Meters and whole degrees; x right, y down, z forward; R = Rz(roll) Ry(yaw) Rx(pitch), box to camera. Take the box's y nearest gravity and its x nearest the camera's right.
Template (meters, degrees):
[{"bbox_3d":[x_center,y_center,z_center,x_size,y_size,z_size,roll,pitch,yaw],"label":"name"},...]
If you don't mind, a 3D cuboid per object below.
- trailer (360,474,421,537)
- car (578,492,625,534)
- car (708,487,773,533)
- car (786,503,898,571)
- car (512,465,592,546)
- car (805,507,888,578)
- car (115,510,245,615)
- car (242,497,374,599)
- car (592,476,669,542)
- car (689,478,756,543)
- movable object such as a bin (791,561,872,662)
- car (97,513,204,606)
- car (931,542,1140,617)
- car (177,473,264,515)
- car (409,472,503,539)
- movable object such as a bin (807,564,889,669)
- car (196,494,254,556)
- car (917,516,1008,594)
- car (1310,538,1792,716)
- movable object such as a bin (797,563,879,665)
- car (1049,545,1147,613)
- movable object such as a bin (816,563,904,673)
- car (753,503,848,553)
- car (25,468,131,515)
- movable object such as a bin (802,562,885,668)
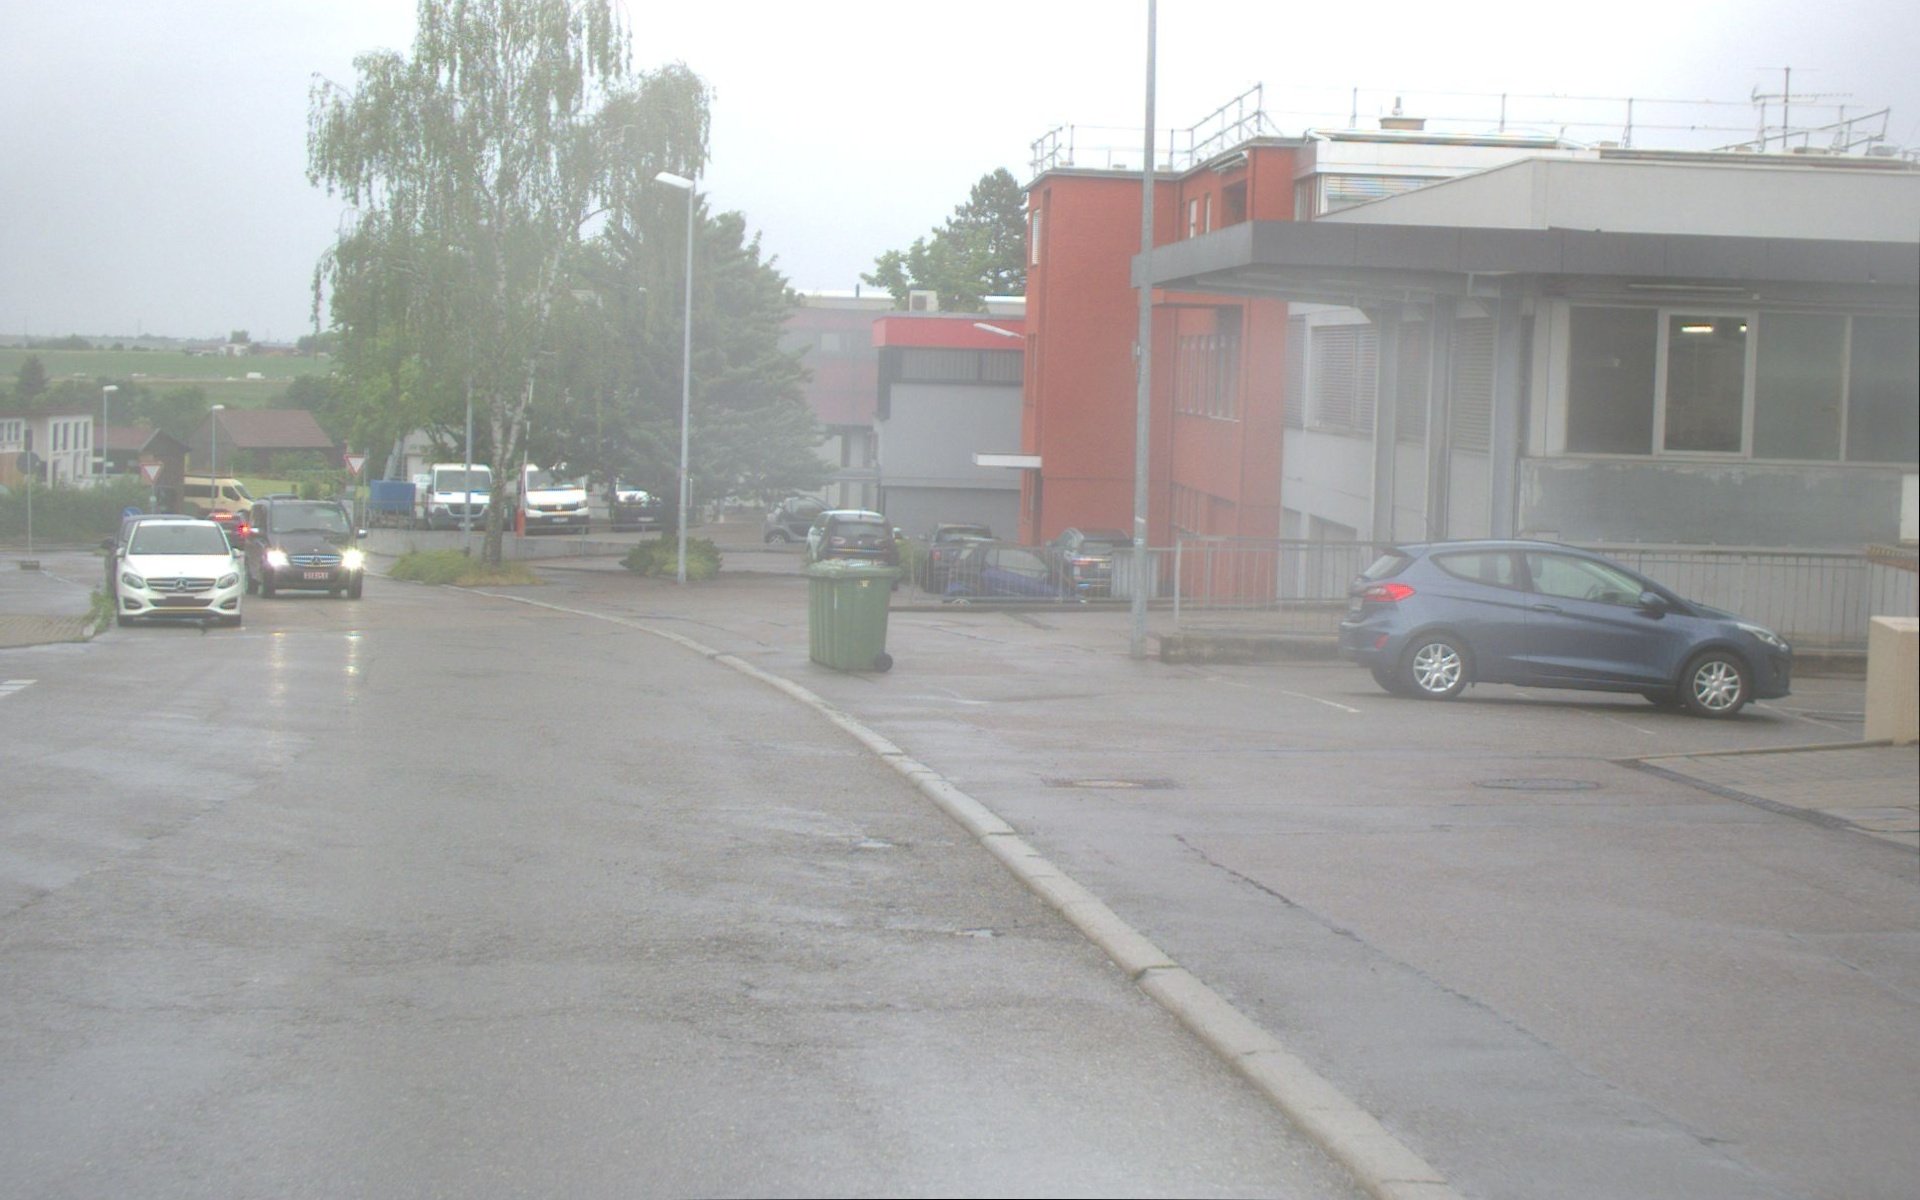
[{"bbox_3d":[-18.740,-3.092,112.986,1.852,2.007,4.001,1,1,-11],"label":"trailer"},{"bbox_3d":[-12.138,-2.937,116.373,1.398,1.321,2.702,1,0,-10],"label":"car"},{"bbox_3d":[-7.503,-3.055,117.227,1.636,1.448,3.512,1,0,-13],"label":"car"},{"bbox_3d":[-2.863,-1.501,82.774,2.064,1.547,4.001,1,0,-11],"label":"car"},{"bbox_3d":[-13.037,-2.992,109.717,2.192,2.451,4.001,1,0,-11],"label":"car"},{"bbox_3d":[-2.513,-1.238,75.306,1.697,1.470,4.000,1,0,-3],"label":"car"},{"bbox_3d":[-11.756,-0.559,51.662,1.769,1.507,4.146,0,0,-15],"label":"car"},{"bbox_3d":[-12.748,-1.046,66.990,1.884,1.880,5.074,1,1,-18],"label":"car"},{"bbox_3d":[-10.641,-2.911,110.811,2.145,2.007,3.940,1,0,-10],"label":"car"},{"bbox_3d":[-7.710,-2.868,111.333,1.780,2.007,3.633,1,0,-10],"label":"car"},{"bbox_3d":[-1.397,0.125,37.267,0.801,1.075,0.625,0,1,-8],"label":"movable object such as a bin"},{"bbox_3d":[-14.703,-0.760,62.339,1.699,1.604,4.002,-1,2,-16],"label":"car"},{"bbox_3d":[1.233,-0.359,57.652,3.400,1.159,1.792,1,1,-1],"label":"car"},{"bbox_3d":[-40.277,-5.769,187.318,4.241,2.218,2.000,1,0,3],"label":"car"},{"bbox_3d":[-16.016,-2.987,109.121,2.264,2.007,4.001,1,0,-19],"label":"car"},{"bbox_3d":[-1.157,0.168,35.541,0.775,1.072,0.584,0,1,-8],"label":"movable object such as a bin"},{"bbox_3d":[-25.094,-2.542,117.446,1.869,2.022,4.001,1,0,-12],"label":"car"},{"bbox_3d":[0.031,-0.980,76.118,1.739,1.648,4.000,1,0,-3],"label":"car"},{"bbox_3d":[5.256,0.234,30.917,3.894,1.379,1.821,3,0,-4],"label":"car"},{"bbox_3d":[-1.308,0.148,36.668,0.808,1.073,0.582,0,1,-8],"label":"movable object such as a bin"},{"bbox_3d":[3.000,-0.464,75.312,1.728,1.417,4.000,1,0,-3],"label":"car"},{"bbox_3d":[-1.021,0.178,34.899,0.806,1.089,0.709,0,1,-8],"label":"movable object such as a bin"},{"bbox_3d":[-4.530,-2.040,97.336,2.547,1.347,1.242,1,1,-8],"label":"car"},{"bbox_3d":[-37.387,-4.593,145.778,3.986,1.875,2.000,1,1,-3],"label":"car"},{"bbox_3d":[-1.226,0.155,36.112,0.809,1.087,0.542,0,1,-8],"label":"movable object such as a bin"}]
